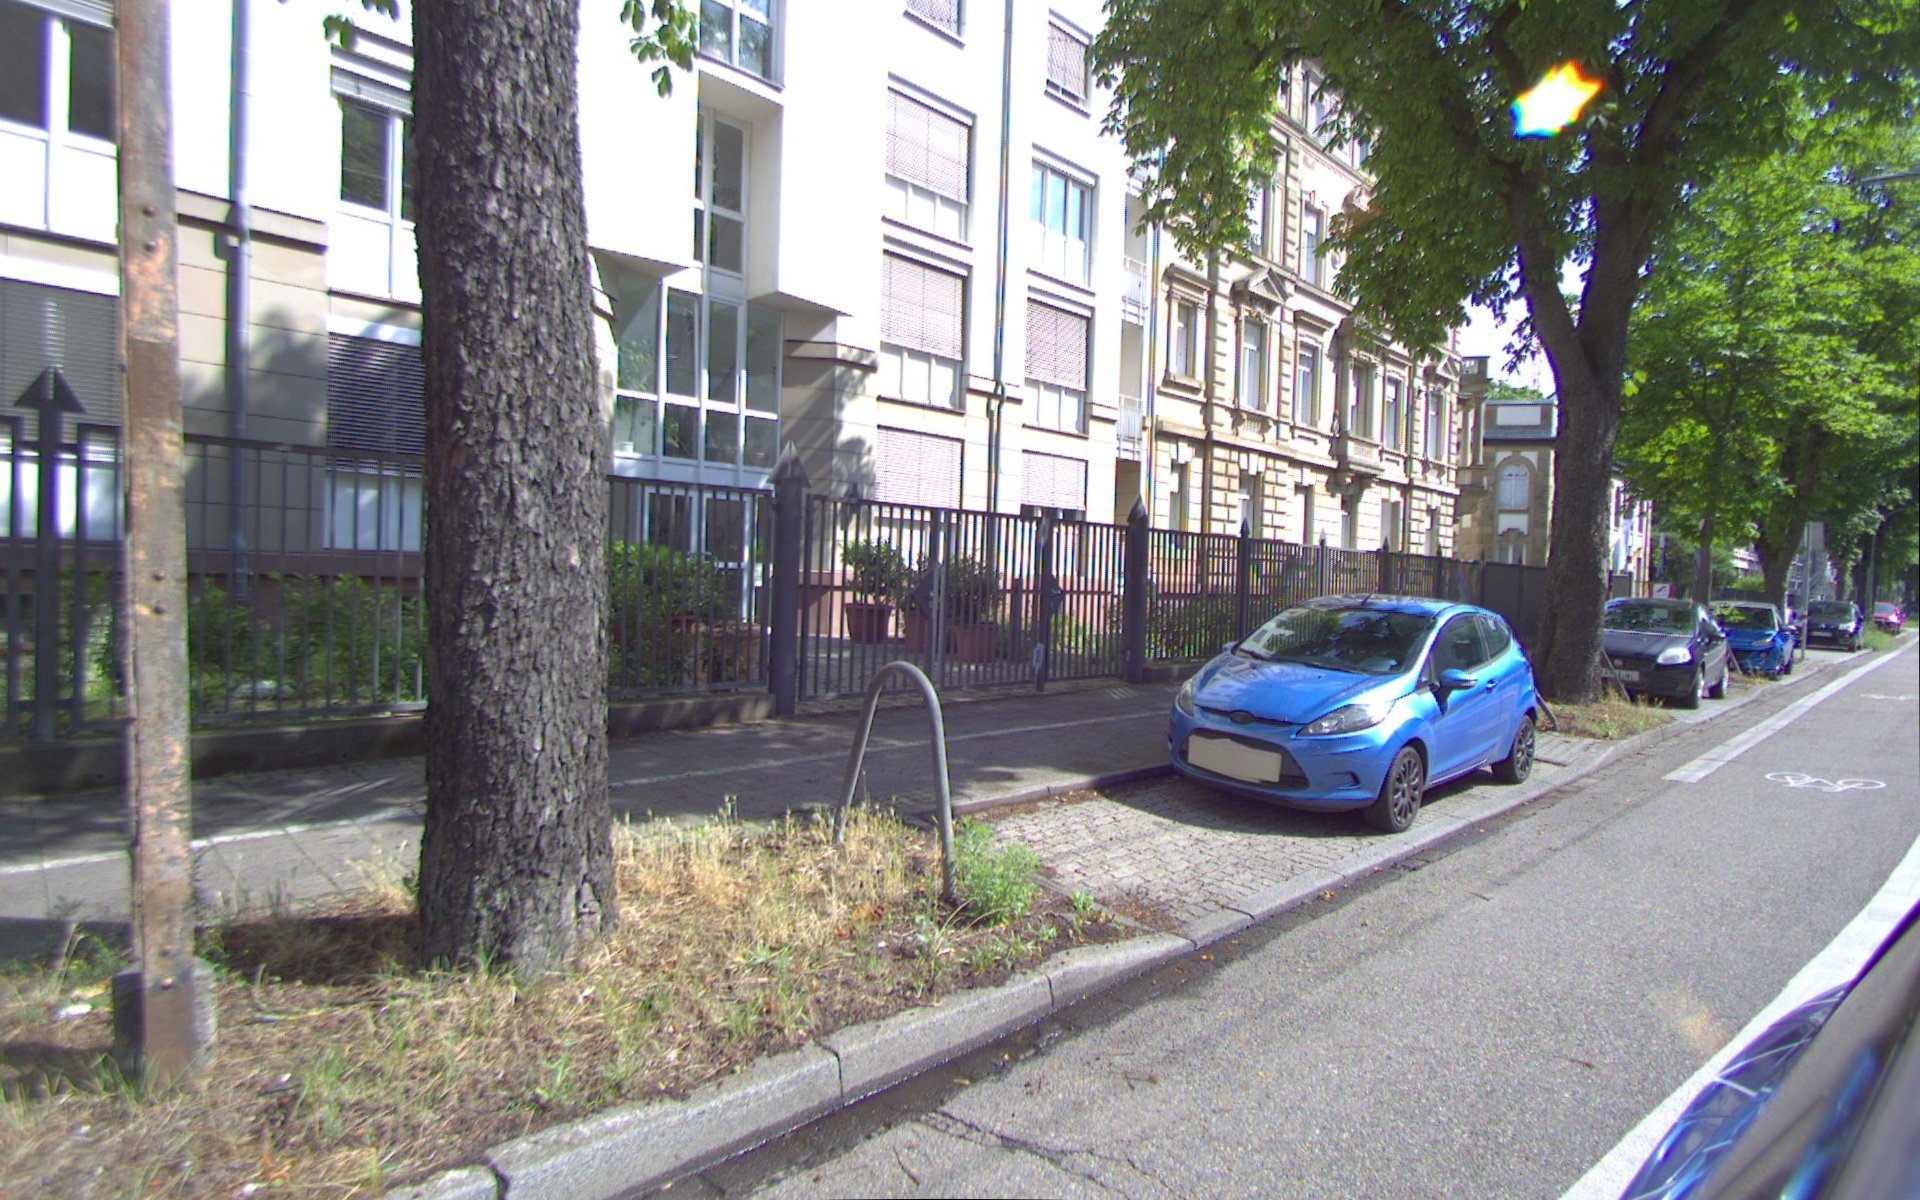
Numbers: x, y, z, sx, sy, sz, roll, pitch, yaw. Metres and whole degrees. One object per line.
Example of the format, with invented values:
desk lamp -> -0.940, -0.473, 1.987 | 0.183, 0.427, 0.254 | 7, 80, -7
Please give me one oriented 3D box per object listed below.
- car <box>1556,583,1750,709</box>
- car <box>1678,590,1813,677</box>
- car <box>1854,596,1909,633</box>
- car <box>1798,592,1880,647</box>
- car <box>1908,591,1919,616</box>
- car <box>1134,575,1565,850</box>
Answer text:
car -> 10.285, 0.584, 14.930 | 1.676, 1.493, 3.602 | 7, 5, 44
car -> 16.044, 0.612, 20.614 | 1.676, 1.493, 3.602 | 7, 5, 44
car -> 45.067, 0.663, 49.470 | 1.741, 1.592, 3.867 | 7, 5, 44
car -> 29.085, 0.604, 33.451 | 1.741, 1.592, 3.602 | 7, 5, 44
car -> 62.991, 0.265, 65.824 | 1.741, 1.592, 3.867 | 7, 5, 44
car -> 3.116, 0.646, 7.742 | 3.600, 1.493, 1.645 | 0, 5, -44
